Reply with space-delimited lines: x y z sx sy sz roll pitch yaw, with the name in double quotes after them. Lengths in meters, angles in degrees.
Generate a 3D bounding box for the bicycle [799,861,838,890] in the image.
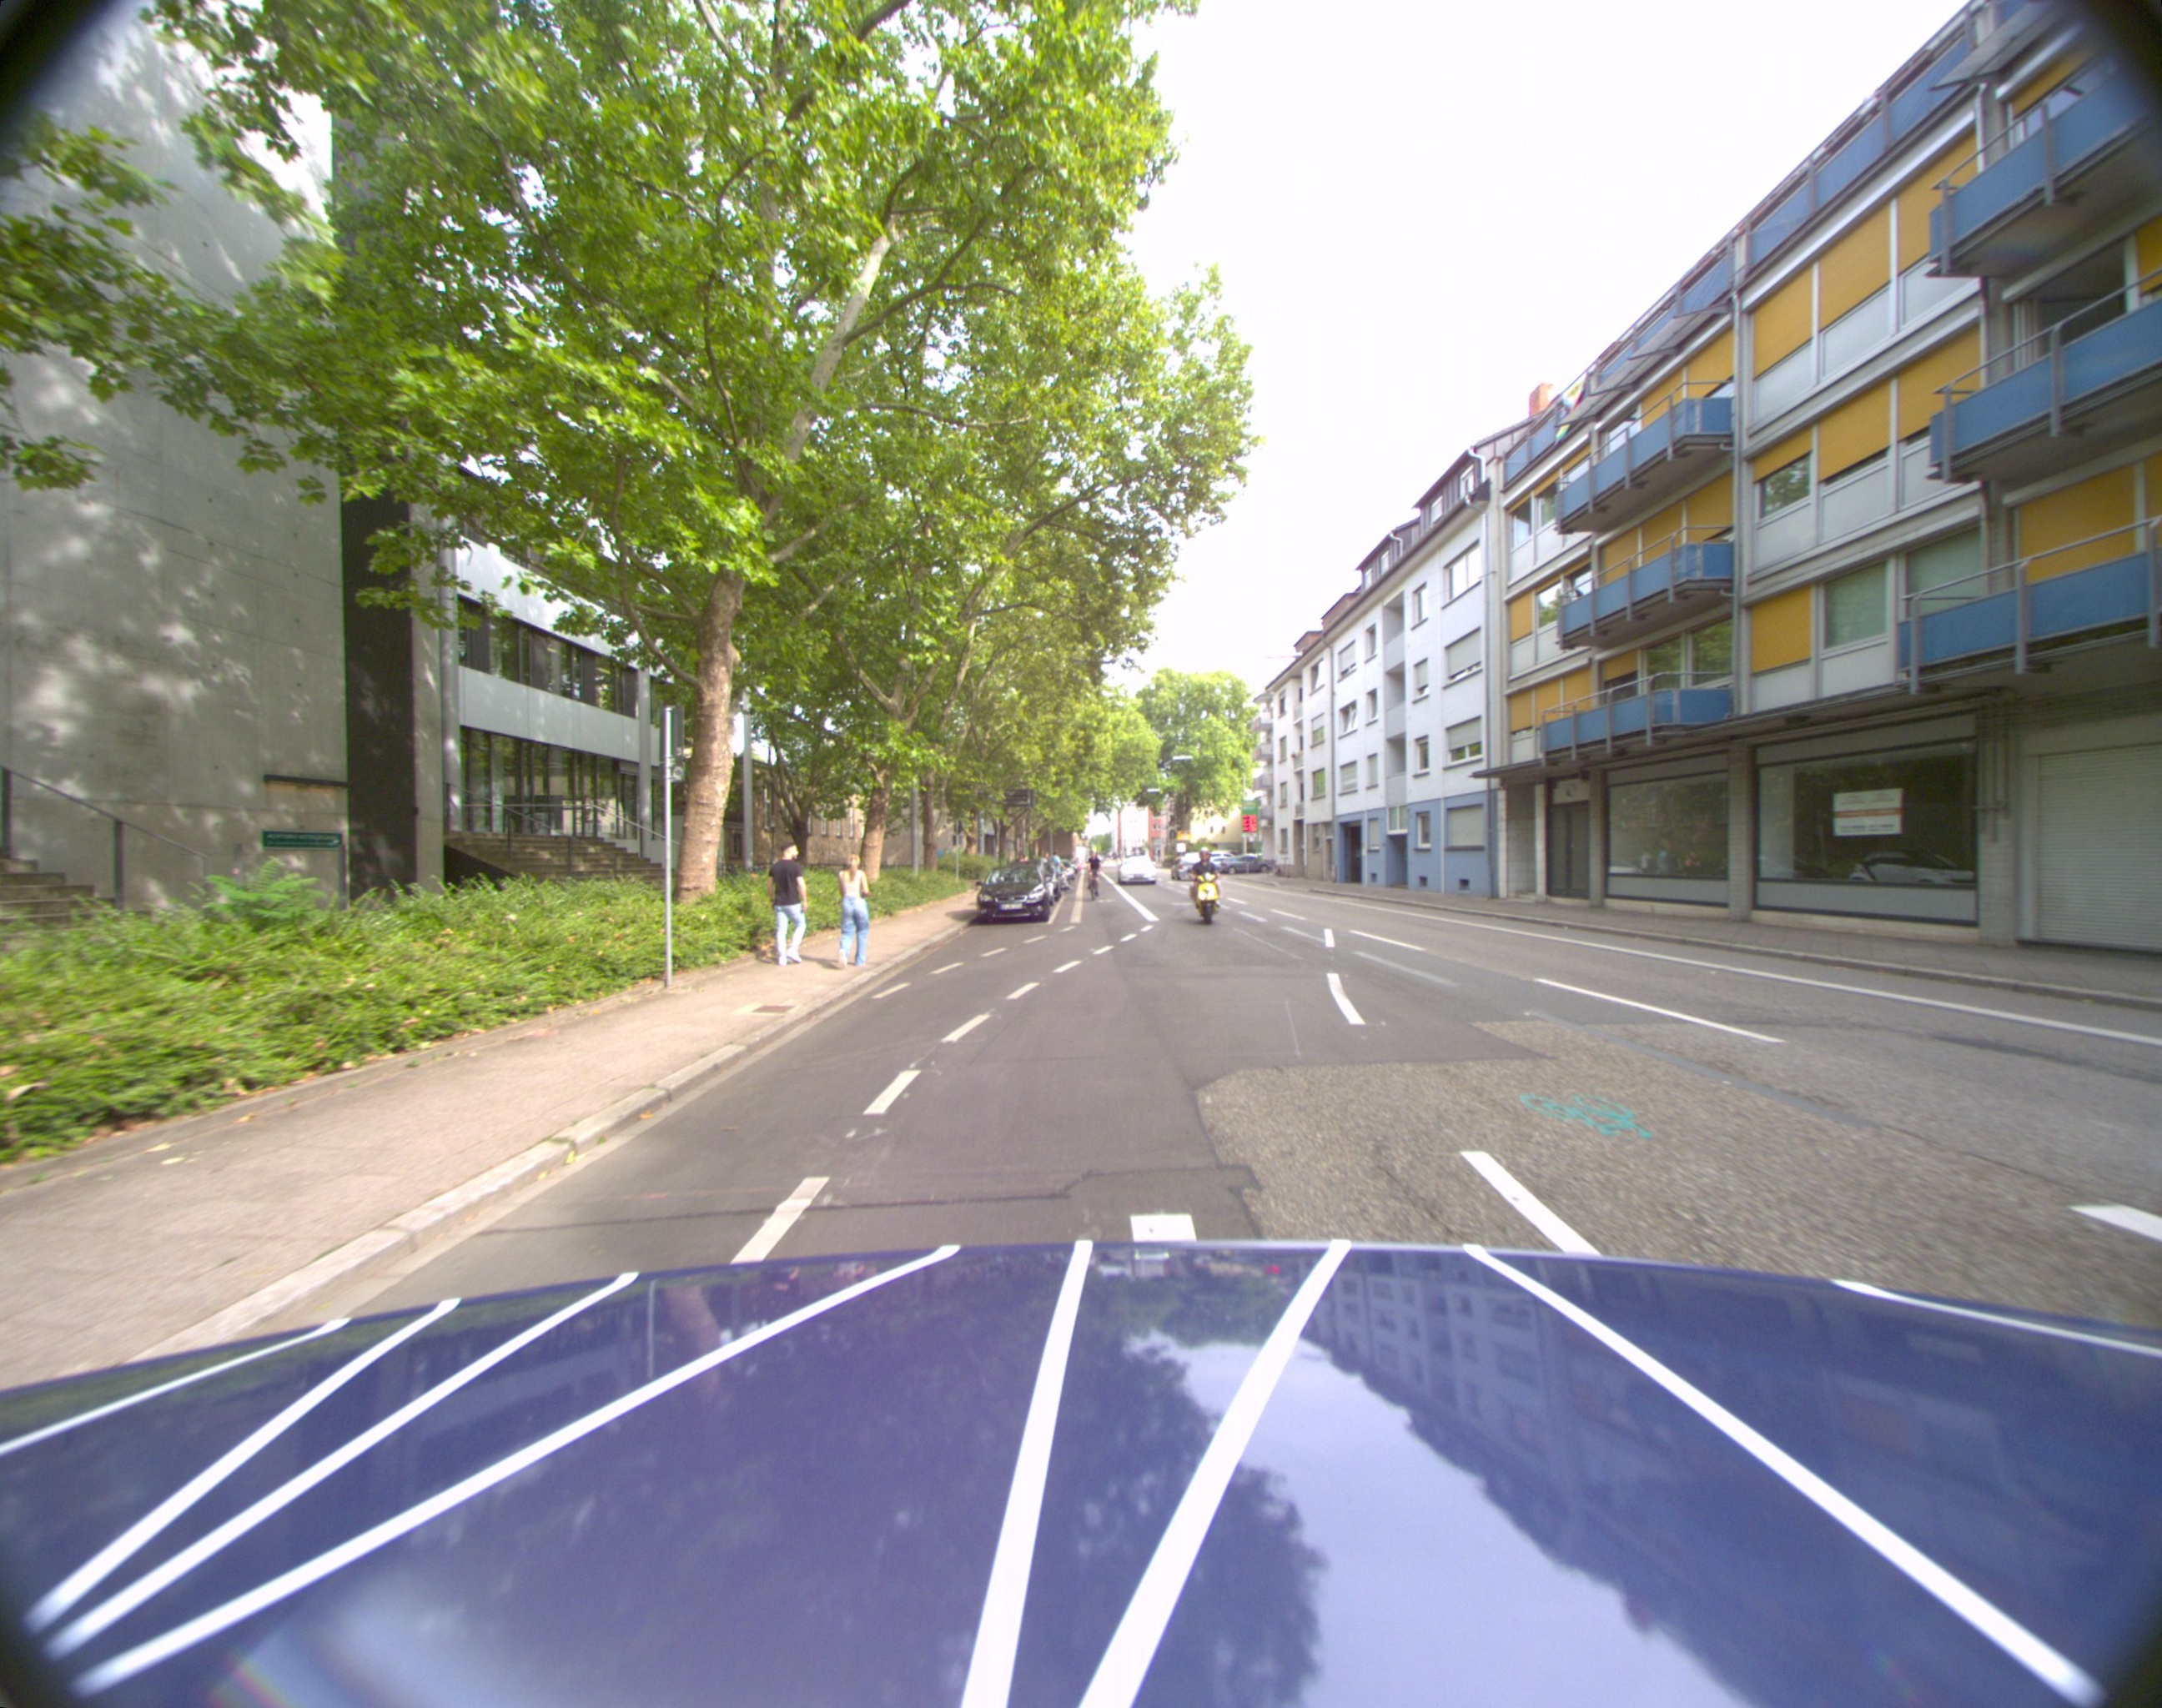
-10.201 0.837 29.556 1.382 1.111 0.468 0 1 -7 "bicycle"

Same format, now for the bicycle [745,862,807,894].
-10.887 0.843 27.133 1.920 1.111 0.673 0 0 0 "bicycle"

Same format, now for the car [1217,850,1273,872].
13.464 0.567 62.594 4.161 1.504 1.837 -3 0 1 "car"

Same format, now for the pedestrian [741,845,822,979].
-4.187 0.776 10.694 0.717 1.789 1.033 1 1 -1 "pedestrian"

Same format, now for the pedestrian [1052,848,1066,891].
-0.997 0.706 34.338 0.476 1.923 0.744 -2 1 -10 "pedestrian"

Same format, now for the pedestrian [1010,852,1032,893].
-2.675 0.811 34.173 0.873 1.806 0.780 -2 1 0 "pedestrian"

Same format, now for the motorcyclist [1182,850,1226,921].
2.856 0.716 17.693 0.904 1.608 0.691 -1 1 2 "motorcyclist"

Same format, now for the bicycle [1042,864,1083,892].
-0.857 1.120 35.366 1.796 1.210 0.552 -2 1 -17 "bicycle"

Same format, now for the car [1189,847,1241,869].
13.504 0.356 76.684 4.778 1.923 1.994 -3 0 2 "car"

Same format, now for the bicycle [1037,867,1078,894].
-1.062 1.181 34.073 1.740 1.099 0.552 -2 1 -11 "bicycle"

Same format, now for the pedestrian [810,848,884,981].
-3.272 0.815 10.719 0.712 1.773 1.033 1 1 -1 "pedestrian"

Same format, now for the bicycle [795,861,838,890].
-10.429 0.838 30.001 1.544 1.111 0.468 0 1 -7 "bicycle"

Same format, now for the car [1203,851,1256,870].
13.079 0.602 67.124 4.282 1.442 1.874 -3 0 1 "car"

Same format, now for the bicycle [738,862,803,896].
-10.630 0.846 26.044 1.920 1.111 0.673 0 0 0 "bicycle"

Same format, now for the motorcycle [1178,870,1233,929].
2.855 1.016 17.693 0.904 1.190 2.631 -1 0 2 "motorcycle"

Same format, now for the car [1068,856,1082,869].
-0.776 1.027 94.236 1.602 1.438 4.105 -3 0 1 "car"

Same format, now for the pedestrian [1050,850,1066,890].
-1.080 0.742 35.613 0.522 1.834 0.744 -2 1 -14 "pedestrian"

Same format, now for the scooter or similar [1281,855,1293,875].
12.532 0.672 46.260 0.350 1.214 1.202 -2 0 0 "scooter or similar"

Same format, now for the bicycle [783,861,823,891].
-10.591 0.840 28.949 1.383 1.111 0.510 0 1 -14 "bicycle"

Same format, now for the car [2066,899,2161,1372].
4.136 0.847 0.397 1.717 1.412 4.253 -1 0 -1 "car"

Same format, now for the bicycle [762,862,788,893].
-11.472 0.854 28.495 0.492 1.111 1.437 0 0 -5 "bicycle"

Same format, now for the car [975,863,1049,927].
-1.738 1.000 20.341 1.702 1.417 4.421 -2 0 -2 "car"

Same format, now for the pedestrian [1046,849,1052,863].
-4.201 0.320 100.852 0.644 1.823 0.645 3 1 -1 "pedestrian"

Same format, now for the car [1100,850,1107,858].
6.997 0.083 238.326 1.998 2.546 4.799 -1 0 1 "car"

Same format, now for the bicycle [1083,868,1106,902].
0.501 1.109 28.059 0.763 1.162 1.949 -2 0 1 "bicycle"

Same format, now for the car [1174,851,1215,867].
13.466 0.584 90.527 4.529 1.596 1.754 -3 0 1 "car"

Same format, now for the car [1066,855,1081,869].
-0.839 0.942 88.916 1.602 1.496 4.440 -3 0 1 "car"

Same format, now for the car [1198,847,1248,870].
13.051 0.402 69.915 4.221 1.837 1.924 -3 0 1 "car"

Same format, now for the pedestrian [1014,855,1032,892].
-2.647 0.874 34.952 0.723 1.648 0.655 -2 1 0 "pedestrian"

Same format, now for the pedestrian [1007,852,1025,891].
-3.064 0.822 36.045 0.723 1.844 0.703 -2 1 0 "pedestrian"

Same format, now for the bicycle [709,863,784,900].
-10.534 0.862 23.978 2.084 1.111 0.673 0 0 0 "bicycle"

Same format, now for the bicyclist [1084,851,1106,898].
0.506 0.759 28.288 0.764 1.698 0.917 -2 1 1 "bicyclist"

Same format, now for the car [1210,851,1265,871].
13.329 0.597 64.928 4.311 1.442 1.910 -3 0 1 "car"

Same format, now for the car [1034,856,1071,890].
-1.429 0.932 38.749 1.685 1.507 4.543 -3 0 -2 "car"

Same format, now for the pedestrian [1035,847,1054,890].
-1.743 0.694 36.115 0.795 1.986 0.750 -2 1 0 "pedestrian"

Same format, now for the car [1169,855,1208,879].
6.635 0.779 47.351 1.762 1.419 4.098 1 0 -1 "car"

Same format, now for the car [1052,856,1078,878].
-1.227 0.924 55.517 1.647 1.438 3.881 -3 0 -4 "car"

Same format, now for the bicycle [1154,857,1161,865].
9.731 0.857 96.920 0.647 1.008 2.076 -2 1 0 "bicycle"

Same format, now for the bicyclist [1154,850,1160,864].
9.719 0.340 96.841 0.653 1.800 1.045 -2 1 0 "bicyclist"

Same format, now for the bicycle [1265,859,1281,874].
12.369 0.788 48.968 0.598 0.945 1.662 -2 0 0 "bicycle"

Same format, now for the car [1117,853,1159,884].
3.091 0.766 42.317 2.000 1.556 4.550 -1 0 0 "car"

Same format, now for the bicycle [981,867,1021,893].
-3.748 1.190 35.481 1.773 1.125 0.462 -2 1 -11 "bicycle"

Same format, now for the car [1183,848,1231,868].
13.131 0.415 79.154 4.627 1.848 1.950 -3 0 2 "car"

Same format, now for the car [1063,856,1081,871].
-0.933 0.948 79.124 1.644 1.424 4.573 -3 0 1 "car"

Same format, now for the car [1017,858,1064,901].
-1.532 0.936 29.638 1.532 1.493 3.660 -2 0 1 "car"

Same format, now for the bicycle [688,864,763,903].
-10.569 0.875 22.642 1.920 1.111 0.673 0 0 0 "bicycle"

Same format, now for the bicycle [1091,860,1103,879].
1.038 1.017 50.204 0.763 1.162 1.949 -2 0 1 "bicycle"

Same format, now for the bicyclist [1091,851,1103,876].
1.037 0.606 50.207 0.749 1.590 0.819 -2 0 1 "bicyclist"

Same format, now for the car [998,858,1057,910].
-1.685 0.925 24.594 1.539 1.534 2.599 -2 0 3 "car"
